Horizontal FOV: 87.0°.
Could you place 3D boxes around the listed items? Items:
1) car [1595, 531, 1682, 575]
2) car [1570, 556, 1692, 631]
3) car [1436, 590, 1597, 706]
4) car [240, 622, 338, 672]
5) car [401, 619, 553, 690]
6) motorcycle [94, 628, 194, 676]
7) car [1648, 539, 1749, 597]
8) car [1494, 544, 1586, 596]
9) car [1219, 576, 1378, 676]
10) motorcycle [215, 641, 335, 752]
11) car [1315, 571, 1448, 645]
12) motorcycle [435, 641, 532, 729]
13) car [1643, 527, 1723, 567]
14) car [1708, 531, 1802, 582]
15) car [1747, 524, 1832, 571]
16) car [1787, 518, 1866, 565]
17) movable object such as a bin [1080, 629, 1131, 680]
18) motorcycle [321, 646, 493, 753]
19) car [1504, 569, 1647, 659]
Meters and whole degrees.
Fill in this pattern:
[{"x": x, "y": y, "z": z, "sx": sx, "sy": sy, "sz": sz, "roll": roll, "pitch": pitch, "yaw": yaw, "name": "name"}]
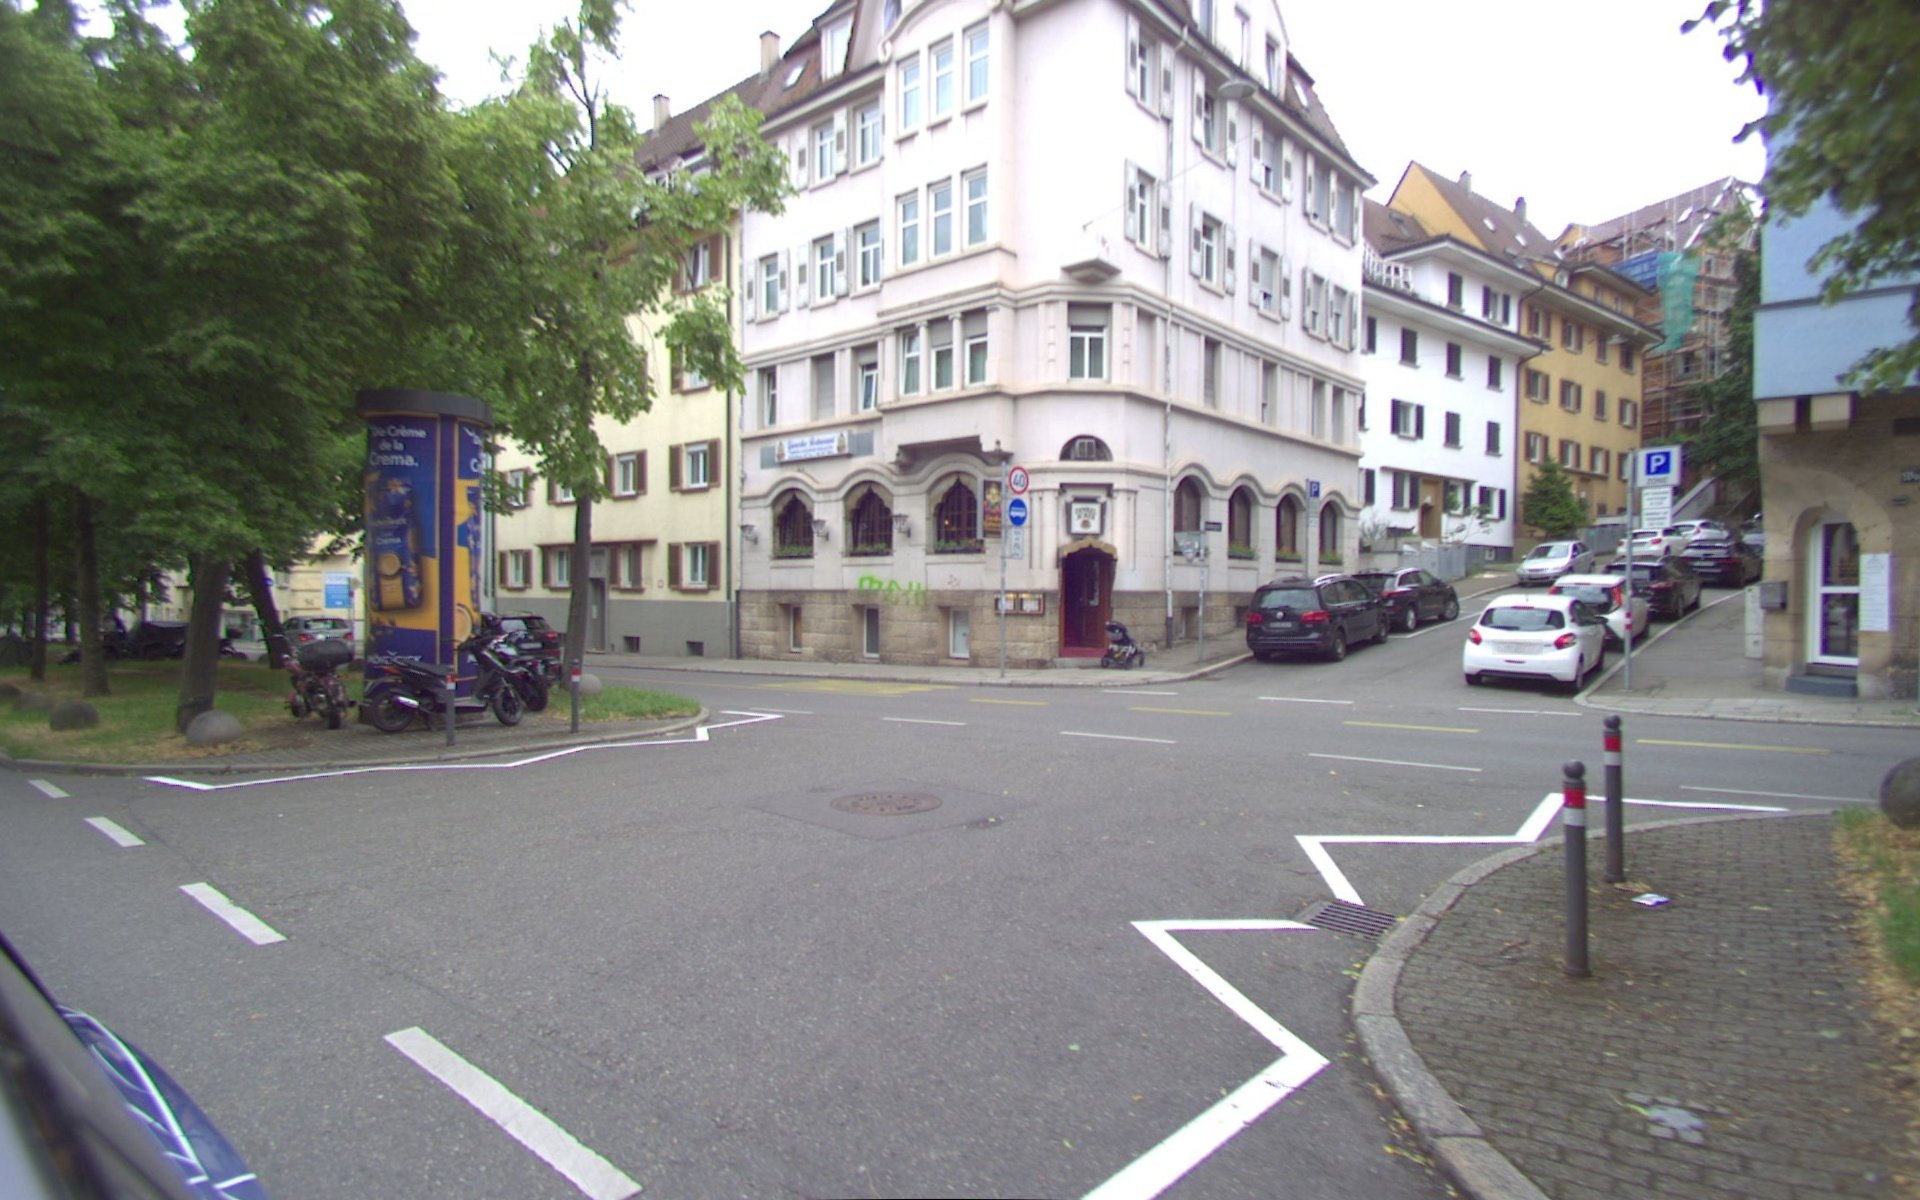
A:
[{"x": 28.503, "y": -1.976, "z": 42.462, "sx": 3.936, "sy": 1.521, "sz": 1.804, "roll": -6, "pitch": 3, "yaw": -37, "name": "car"}, {"x": 16.761, "y": -0.195, "z": 25.195, "sx": 1.801, "sy": 1.521, "sz": 3.943, "roll": -1, "pitch": 4, "yaw": 44, "name": "car"}, {"x": 9.800, "y": 0.718, "z": 17.667, "sx": 1.869, "sy": 1.480, "sz": 3.961, "roll": 0, "pitch": 5, "yaw": 38, "name": "car"}, {"x": -22.995, "y": 1.593, "z": 34.615, "sx": 4.253, "sy": 1.575, "sz": 1.794, "roll": -3, "pitch": -2, "yaw": 42, "name": "car"}, {"x": -11.913, "y": 1.300, "z": 24.835, "sx": 4.414, "sy": 1.575, "sz": 1.794, "roll": -3, "pitch": -2, "yaw": 42, "name": "car"}, {"x": -26.801, "y": 1.692, "z": 33.259, "sx": 0.963, "sy": 1.494, "sz": 2.393, "roll": 1, "pitch": -1, "yaw": 41, "name": "motorcycle"}, {"x": 23.451, "y": -1.021, "z": 32.086, "sx": 3.941, "sy": 1.521, "sz": 1.802, "roll": -7, "pitch": 4, "yaw": -42, "name": "car"}, {"x": 20.633, "y": -1.077, "z": 35.947, "sx": 3.942, "sy": 1.521, "sz": 1.801, "roll": -7, "pitch": 4, "yaw": -44, "name": "car"}, {"x": 7.471, "y": 0.505, "z": 22.104, "sx": 1.870, "sy": 1.712, "sz": 3.957, "roll": -2, "pitch": 4, "yaw": 41, "name": "car"}, {"x": -8.401, "y": 1.113, "z": 12.364, "sx": 0.876, "sy": 1.104, "sz": 2.484, "roll": 0, "pitch": 1, "yaw": -42, "name": "motorcycle"}, {"x": 10.902, "y": 0.160, "z": 26.054, "sx": 1.801, "sy": 1.521, "sz": 3.944, "roll": -1, "pitch": 4, "yaw": 44, "name": "car"}, {"x": -6.815, "y": 1.172, "z": 14.433, "sx": 0.740, "sy": 1.081, "sz": 1.853, "roll": 0, "pitch": 1, "yaw": -42, "name": "motorcycle"}, {"x": 32.778, "y": -2.427, "z": 45.866, "sx": 3.936, "sy": 1.521, "sz": 1.804, "roll": -6, "pitch": 3, "yaw": -37, "name": "car"}, {"x": 28.475, "y": -1.580, "z": 36.196, "sx": 3.938, "sy": 1.521, "sz": 1.803, "roll": -6, "pitch": 4, "yaw": -39, "name": "car"}, {"x": 32.406, "y": -2.060, "z": 39.495, "sx": 3.938, "sy": 1.521, "sz": 1.803, "roll": -6, "pitch": 4, "yaw": -39, "name": "car"}, {"x": 36.306, "y": -2.454, "z": 42.381, "sx": 3.938, "sy": 1.679, "sz": 1.803, "roll": -6, "pitch": 4, "yaw": -39, "name": "car"}, {"x": 3.065, "y": 1.132, "z": 21.272, "sx": 0.667, "sy": 1.001, "sz": 0.877, "roll": -2, "pitch": 1, "yaw": 39, "name": "movable object such as a bin"}, {"x": -6.540, "y": 1.139, "z": 12.036, "sx": 0.551, "sy": 1.104, "sz": 1.712, "roll": 0, "pitch": 1, "yaw": 44, "name": "motorcycle"}, {"x": 13.299, "y": 0.247, "z": 21.745, "sx": 1.966, "sy": 1.480, "sz": 4.099, "roll": -2, "pitch": 4, "yaw": 41, "name": "car"}]
